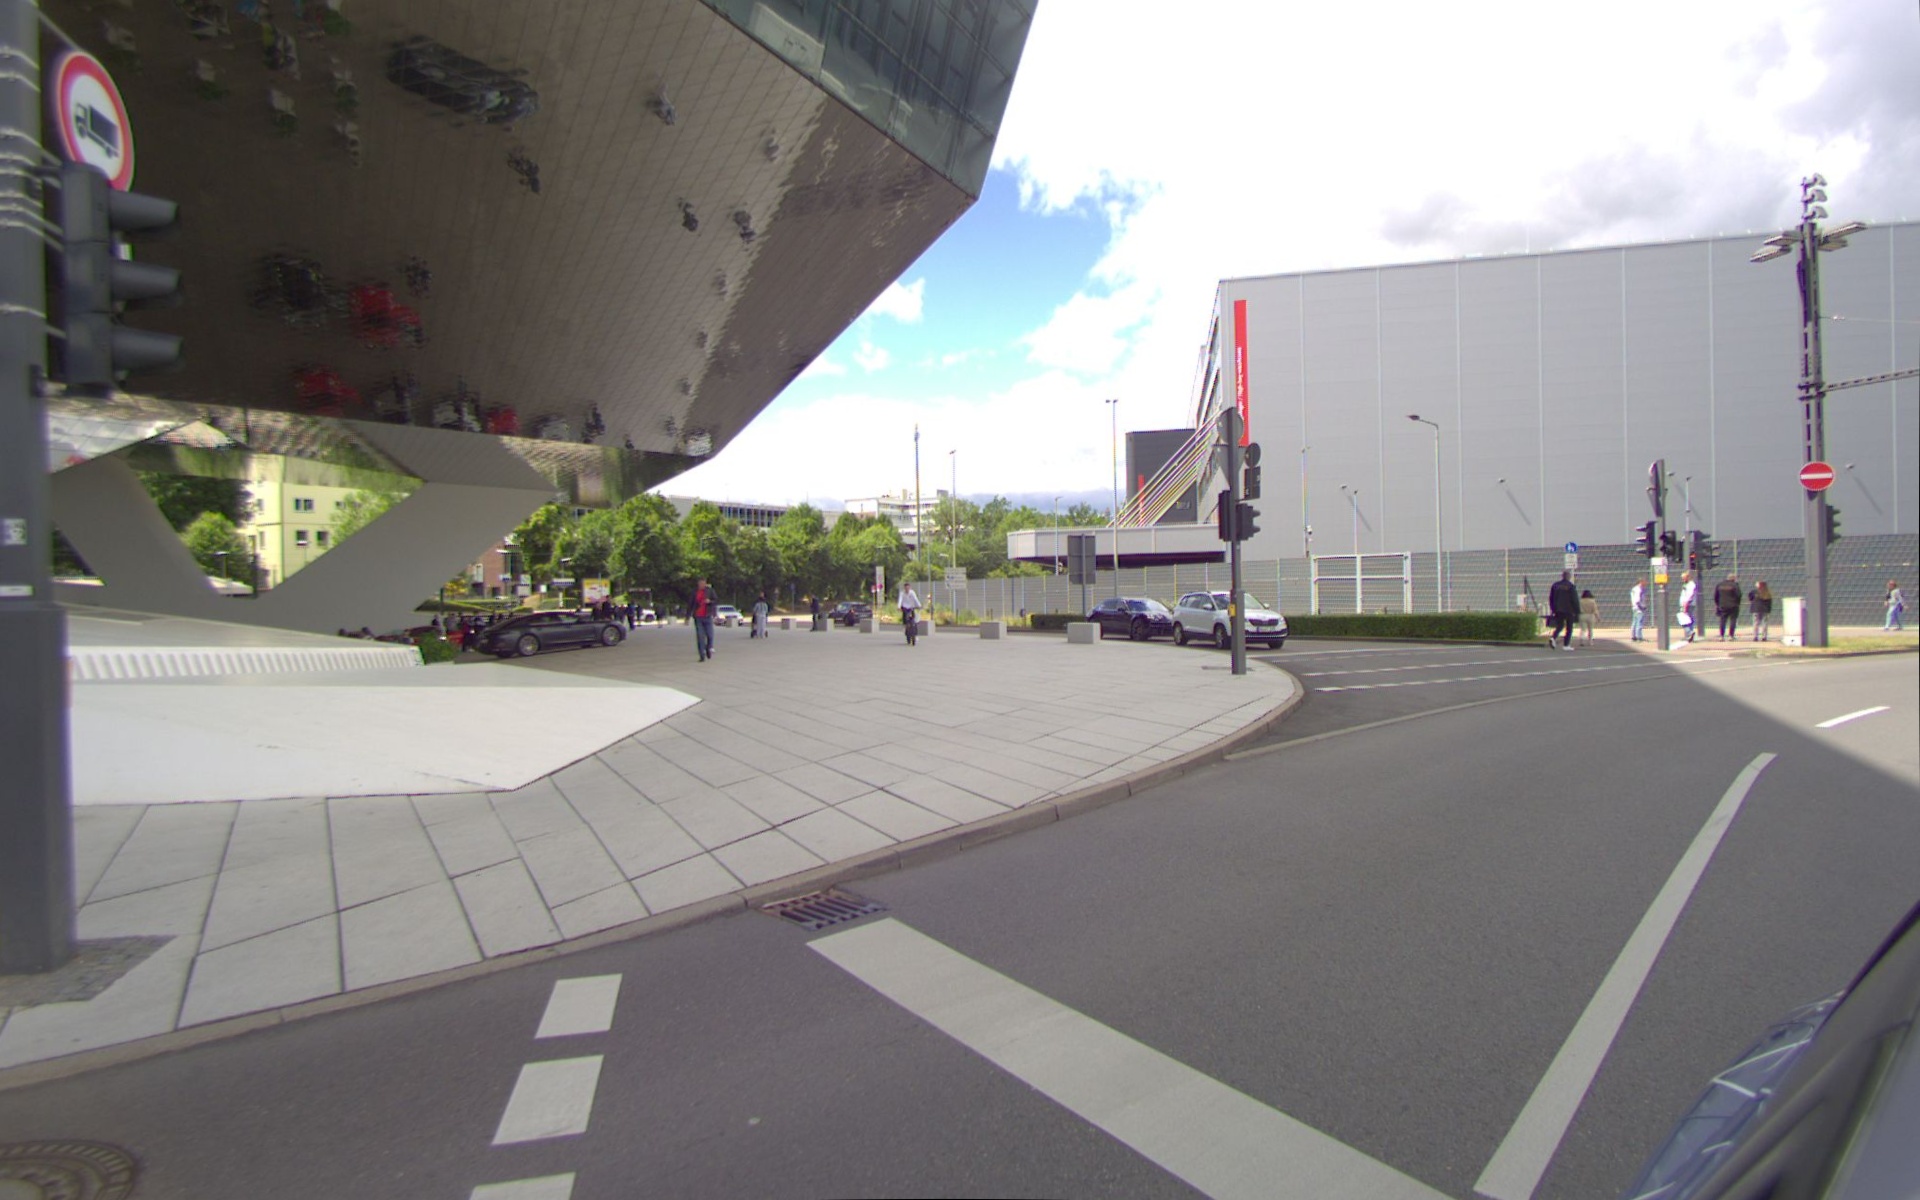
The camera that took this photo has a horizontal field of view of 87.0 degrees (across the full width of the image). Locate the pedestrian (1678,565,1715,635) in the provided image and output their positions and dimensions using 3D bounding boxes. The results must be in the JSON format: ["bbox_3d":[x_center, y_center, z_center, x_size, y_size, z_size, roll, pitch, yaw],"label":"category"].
[{"bbox_3d":[20.137,0.000,27.678,0.614,1.870,0.667,-3,-1,27],"label":"pedestrian"}]

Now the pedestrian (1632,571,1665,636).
[{"bbox_3d":[19.268,0.096,28.332,0.614,1.782,0.601,-3,-1,29],"label":"pedestrian"}]

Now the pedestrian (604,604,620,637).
[{"bbox_3d":[-21.908,1.313,63.703,0.761,2.039,0.828,-2,-1,-28],"label":"pedestrian"}]

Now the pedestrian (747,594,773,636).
[{"bbox_3d":[-7.737,0.593,39.108,0.787,1.560,0.788,-2,-1,-22],"label":"pedestrian"}]

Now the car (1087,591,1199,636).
[{"bbox_3d":[6.064,0.465,34.037,1.800,1.401,4.166,-1,-1,-21],"label":"car"}]

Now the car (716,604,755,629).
[{"bbox_3d":[-16.261,1.205,73.152,1.849,1.664,4.005,-3,-1,-26],"label":"car"}]

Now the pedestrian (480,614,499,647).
[{"bbox_3d":[-25.688,1.672,55.249,0.762,1.761,0.827,-2,-1,-34],"label":"pedestrian"}]

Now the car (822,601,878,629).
[{"bbox_3d":[-7.590,1.053,69.668,1.964,1.724,3.996,-2,-1,-37],"label":"car"}]

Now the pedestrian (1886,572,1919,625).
[{"bbox_3d":[30.026,-0.058,31.933,0.907,1.606,0.692,-3,-1,15],"label":"pedestrian"}]

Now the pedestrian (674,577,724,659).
[{"bbox_3d":[-6.059,0.413,23.507,0.905,1.849,0.831,-2,-1,-27],"label":"pedestrian"}]

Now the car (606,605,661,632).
[{"bbox_3d":[-27.967,1.580,86.731,4.126,2.039,2.002,-3,-1,-27],"label":"car"}]

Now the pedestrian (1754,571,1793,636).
[{"bbox_3d":[21.571,0.091,26.834,0.610,1.659,0.671,-2,-1,-44],"label":"pedestrian"}]

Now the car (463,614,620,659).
[{"bbox_3d":[-14.294,1.238,34.793,1.990,1.236,4.613,-3,0,39],"label":"car"}]

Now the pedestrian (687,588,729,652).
[{"bbox_3d":[-6.933,0.550,27.826,0.905,1.697,0.831,-2,-1,-27],"label":"pedestrian"}]

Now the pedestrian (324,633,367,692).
[{"bbox_3d":[-17.302,1.741,28.508,0.905,1.592,0.831,-2,-1,-27],"label":"pedestrian"}]

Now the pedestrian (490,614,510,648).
[{"bbox_3d":[-24.424,1.627,53.677,0.762,1.761,0.827,-2,-1,-36],"label":"pedestrian"}]

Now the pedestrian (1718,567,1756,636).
[{"bbox_3d":[21.040,0.031,27.412,0.614,1.817,0.666,-3,-1,29],"label":"pedestrian"}]

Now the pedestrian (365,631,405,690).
[{"bbox_3d":[-16.416,1.704,28.903,0.905,1.592,0.831,-2,-1,-27],"label":"pedestrian"}]

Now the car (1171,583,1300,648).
[{"bbox_3d":[7.517,0.357,28.028,1.800,1.569,4.008,-3,2,-11],"label":"car"}]

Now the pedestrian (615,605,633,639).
[{"bbox_3d":[-20.618,1.338,62.120,0.762,2.039,0.827,-2,-1,-36],"label":"pedestrian"}]

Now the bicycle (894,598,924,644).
[{"bbox_3d":[-1.500,0.618,30.235,0.766,1.290,1.926,-3,-1,-1],"label":"bicycle"}]

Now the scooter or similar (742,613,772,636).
[{"bbox_3d":[-8.024,0.960,39.992,0.929,0.850,1.115,-3,-1,-22],"label":"scooter or similar"}]

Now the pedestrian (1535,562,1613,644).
[{"bbox_3d":[15.412,0.086,25.434,1.354,2.010,0.957,0,-1,-1],"label":"pedestrian"}]

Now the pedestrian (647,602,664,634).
[{"bbox_3d":[-20.248,1.203,67.283,0.762,2.039,0.827,-2,-1,-36],"label":"pedestrian"}]

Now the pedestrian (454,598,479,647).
[{"bbox_3d":[-21.349,0.981,43.784,0.762,2.039,0.827,-2,-1,-36],"label":"pedestrian"}]

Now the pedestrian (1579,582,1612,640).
[{"bbox_3d":[16.929,0.286,26.949,0.580,1.515,0.761,-3,-1,40],"label":"pedestrian"}]

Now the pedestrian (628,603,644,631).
[{"bbox_3d":[-23.679,1.244,73.979,0.766,2.039,0.823,-3,-1,19],"label":"pedestrian"}]

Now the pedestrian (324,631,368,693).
[{"bbox_3d":[-16.644,1.661,27.457,0.905,1.592,0.831,-2,-1,-27],"label":"pedestrian"}]

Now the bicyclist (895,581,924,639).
[{"bbox_3d":[-1.505,0.297,30.128,0.758,1.674,0.937,-3,-1,-1],"label":"bicyclist"}]

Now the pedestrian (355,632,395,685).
[{"bbox_3d":[-18.226,1.810,31.549,0.904,1.592,0.832,-2,-1,-20],"label":"pedestrian"}]

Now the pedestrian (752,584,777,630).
[{"bbox_3d":[-8.964,0.331,46.404,0.762,2.039,0.827,-2,-1,-36],"label":"pedestrian"}]

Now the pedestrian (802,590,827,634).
[{"bbox_3d":[-7.009,0.564,48.765,0.817,2.039,0.771,-3,-1,21],"label":"pedestrian"}]

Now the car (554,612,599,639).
[{"bbox_3d":[-24.241,1.606,63.925,1.852,1.574,4.001,-2,-1,-32],"label":"car"}]

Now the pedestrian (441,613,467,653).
[{"bbox_3d":[-23.054,1.494,46.087,0.814,1.761,0.774,-2,-1,-44],"label":"pedestrian"}]

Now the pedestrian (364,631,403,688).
[{"bbox_3d":[-16.997,1.739,29.863,0.905,1.592,0.831,-2,-1,-27],"label":"pedestrian"}]
